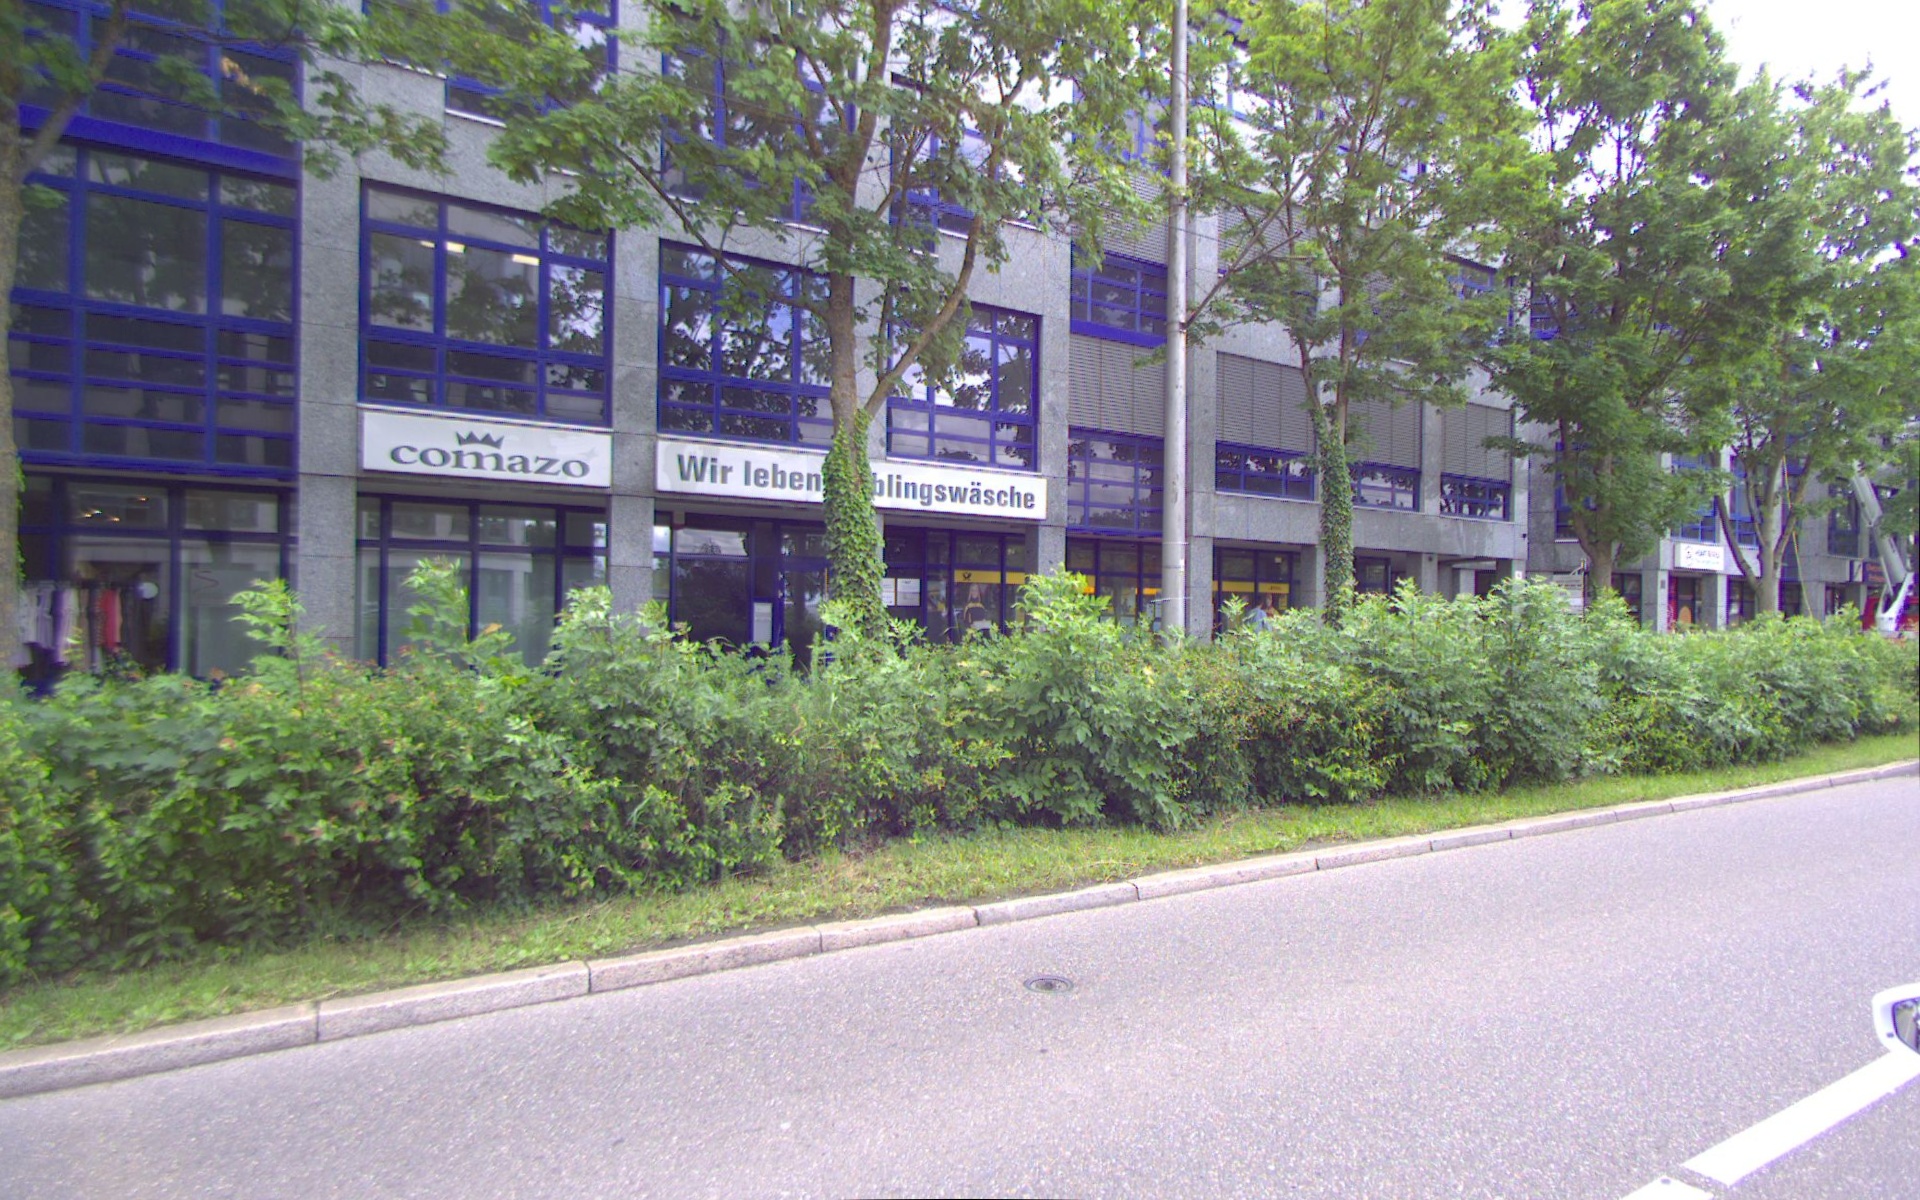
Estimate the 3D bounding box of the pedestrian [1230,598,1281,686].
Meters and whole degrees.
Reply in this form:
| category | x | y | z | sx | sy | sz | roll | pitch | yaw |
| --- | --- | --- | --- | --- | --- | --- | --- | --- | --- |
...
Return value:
| category | x | y | z | sx | sy | sz | roll | pitch | yaw |
| --- | --- | --- | --- | --- | --- | --- | --- | --- | --- |
| pedestrian | 6.609 | 0.932 | 22.449 | 0.723 | 1.919 | 0.771 | 2 | 0 | -30 |
